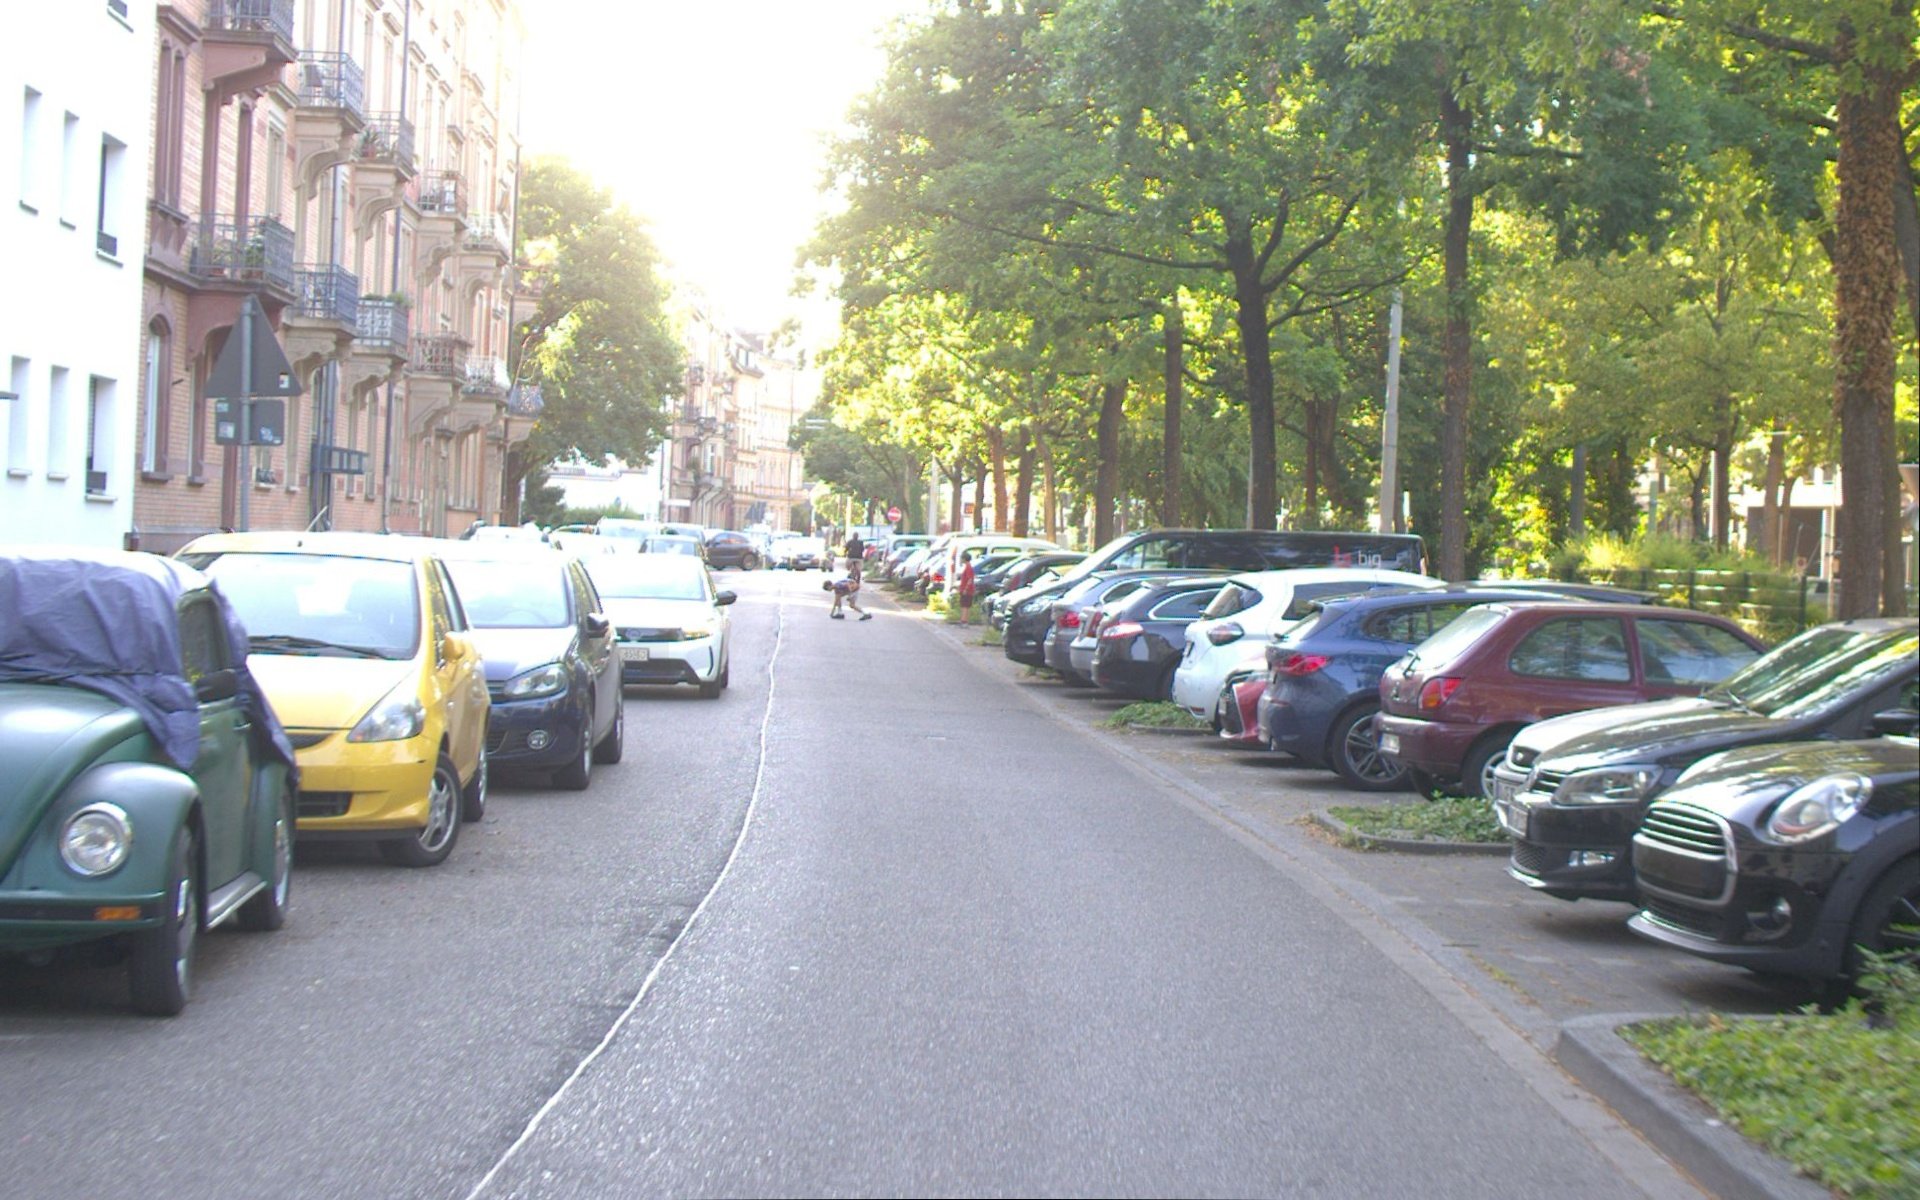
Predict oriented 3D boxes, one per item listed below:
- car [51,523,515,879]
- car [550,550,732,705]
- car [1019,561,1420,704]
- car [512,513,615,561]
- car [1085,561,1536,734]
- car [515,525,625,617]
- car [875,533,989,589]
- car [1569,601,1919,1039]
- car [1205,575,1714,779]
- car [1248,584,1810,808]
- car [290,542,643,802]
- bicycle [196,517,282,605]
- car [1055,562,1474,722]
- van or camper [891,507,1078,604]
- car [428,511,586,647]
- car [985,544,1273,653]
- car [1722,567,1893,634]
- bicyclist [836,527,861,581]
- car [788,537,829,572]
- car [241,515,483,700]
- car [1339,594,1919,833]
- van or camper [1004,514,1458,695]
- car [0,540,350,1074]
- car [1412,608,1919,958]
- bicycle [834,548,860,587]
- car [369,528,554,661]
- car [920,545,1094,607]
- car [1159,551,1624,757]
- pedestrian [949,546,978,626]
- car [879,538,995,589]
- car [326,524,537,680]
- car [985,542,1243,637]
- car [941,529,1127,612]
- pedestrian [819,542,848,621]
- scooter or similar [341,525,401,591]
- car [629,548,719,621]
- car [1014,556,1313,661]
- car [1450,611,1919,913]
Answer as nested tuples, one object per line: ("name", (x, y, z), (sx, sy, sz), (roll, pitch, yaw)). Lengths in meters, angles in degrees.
("car", (-3.251, 0.423, 17.167), (1.702, 1.520, 3.774), (2, 1, -3))
("car", (-3.272, 0.245, 35.821), (1.668, 1.426, 4.001), (0, 2, -2))
("car", (2.997, 0.380, 40.252), (4.398, 1.496, 1.838), (2, -1, -5))
("car", (-16.574, -2.639, 143.858), (3.987, 1.700, 2.000), (4, -1, -1))
("car", (3.497, 0.472, 34.826), (4.399, 1.572, 1.664), (2, -1, 3))
("car", (-7.075, -0.556, 62.662), (1.753, 1.459, 4.001), (5, 1, -5))
("car", (-1.057, -1.421, 127.459), (3.986, 1.788, 1.859), (4, -1, -5))
("car", (4.335, 0.800, 12.627), (3.781, 1.467, 1.635), (2, -1, -6))
("car", (3.929, 0.603, 27.476), (3.782, 1.468, 1.664), (2, -1, 0))
("car", (4.020, 0.674, 24.742), (3.782, 1.442, 1.664), (2, -1, 3))
("car", (-3.072, 0.389, 22.100), (1.739, 1.474, 4.000), (2, 1, -1))
("bicycle", (-10.594, -0.589, 50.606), (0.737, 1.202, 2.514), (4, 2, -2))
("car", (3.289, 0.456, 37.665), (4.399, 1.572, 1.664), (2, -1, 0))
("van or camper", (0.679, -1.242, 97.220), (4.981, 2.369, 2.185), (4, -1, -4))
("car", (-6.243, -0.320, 47.738), (1.751, 1.700, 4.201), (4, 1, -3))
("car", (2.678, -0.036, 55.124), (4.399, 1.585, 1.838), (2, 0, -3))
("car", (25.590, 0.018, 103.787), (4.705, 1.678, 1.998), (3, -1, 21))
("bicyclist", (-3.381, -1.380, 103.788), (0.627, 1.568, 0.802), (4, -1, -4))
("car", (-6.518, -1.972, 147.698), (1.668, 1.459, 4.001), (1, 1, -4))
("car", (-5.634, 0.035, 32.800), (1.668, 1.503, 4.001), (6, 1, -3))
("car", (4.526, 0.723, 22.284), (3.781, 1.397, 1.767), (2, -1, -6))
("van or camper", (3.298, 0.030, 42.710), (5.414, 2.020, 2.030), (2, 1, 0))
("car", (-3.223, 0.565, 11.861), (1.566, 1.512, 3.782), (2, 1, -1))
("car", (4.042, 0.799, 15.200), (3.782, 1.397, 1.827), (2, -1, -1))
("bicycle", (-3.408, -0.981, 103.856), (0.641, 1.096, 1.944), (4, -1, -4))
("car", (-6.106, -0.102, 42.455), (1.616, 1.447, 4.000), (5, 1, 0))
("car", (1.176, -0.593, 84.704), (4.220, 1.448, 1.649), (1, 1, 2))
("car", (3.726, 0.469, 30.105), (3.782, 1.640, 1.664), (2, -1, -2))
("pedestrian", (0.067, -0.279, 66.831), (0.380, 1.511, 0.518), (3, 3, 17))
("car", (-0.844, -1.305, 124.796), (3.986, 1.558, 1.859), (4, -1, -5))
("car", (-5.765, -0.018, 37.903), (1.668, 1.466, 4.284), (6, 1, -2))
("car", (2.773, -0.193, 62.510), (4.398, 1.585, 1.838), (2, 0, -7))
("car", (1.701, -0.696, 80.234), (4.219, 1.857, 1.762), (1, 1, -1))
("pedestrian", (-2.619, -0.385, 71.047), (0.380, 1.579, 0.518), (3, 3, 17))
("scooter or similar", (-11.732, -0.828, 68.596), (0.783, 1.218, 2.704), (4, -1, -3))
("car", (-5.921, -0.330, 71.342), (1.504, 1.430, 2.753), (2, 1, 2))
("car", (3.067, 0.120, 52.381), (4.399, 1.435, 1.838), (2, 0, 0))
("car", (4.541, 0.818, 17.425), (3.781, 1.397, 1.664), (2, -1, -3))
